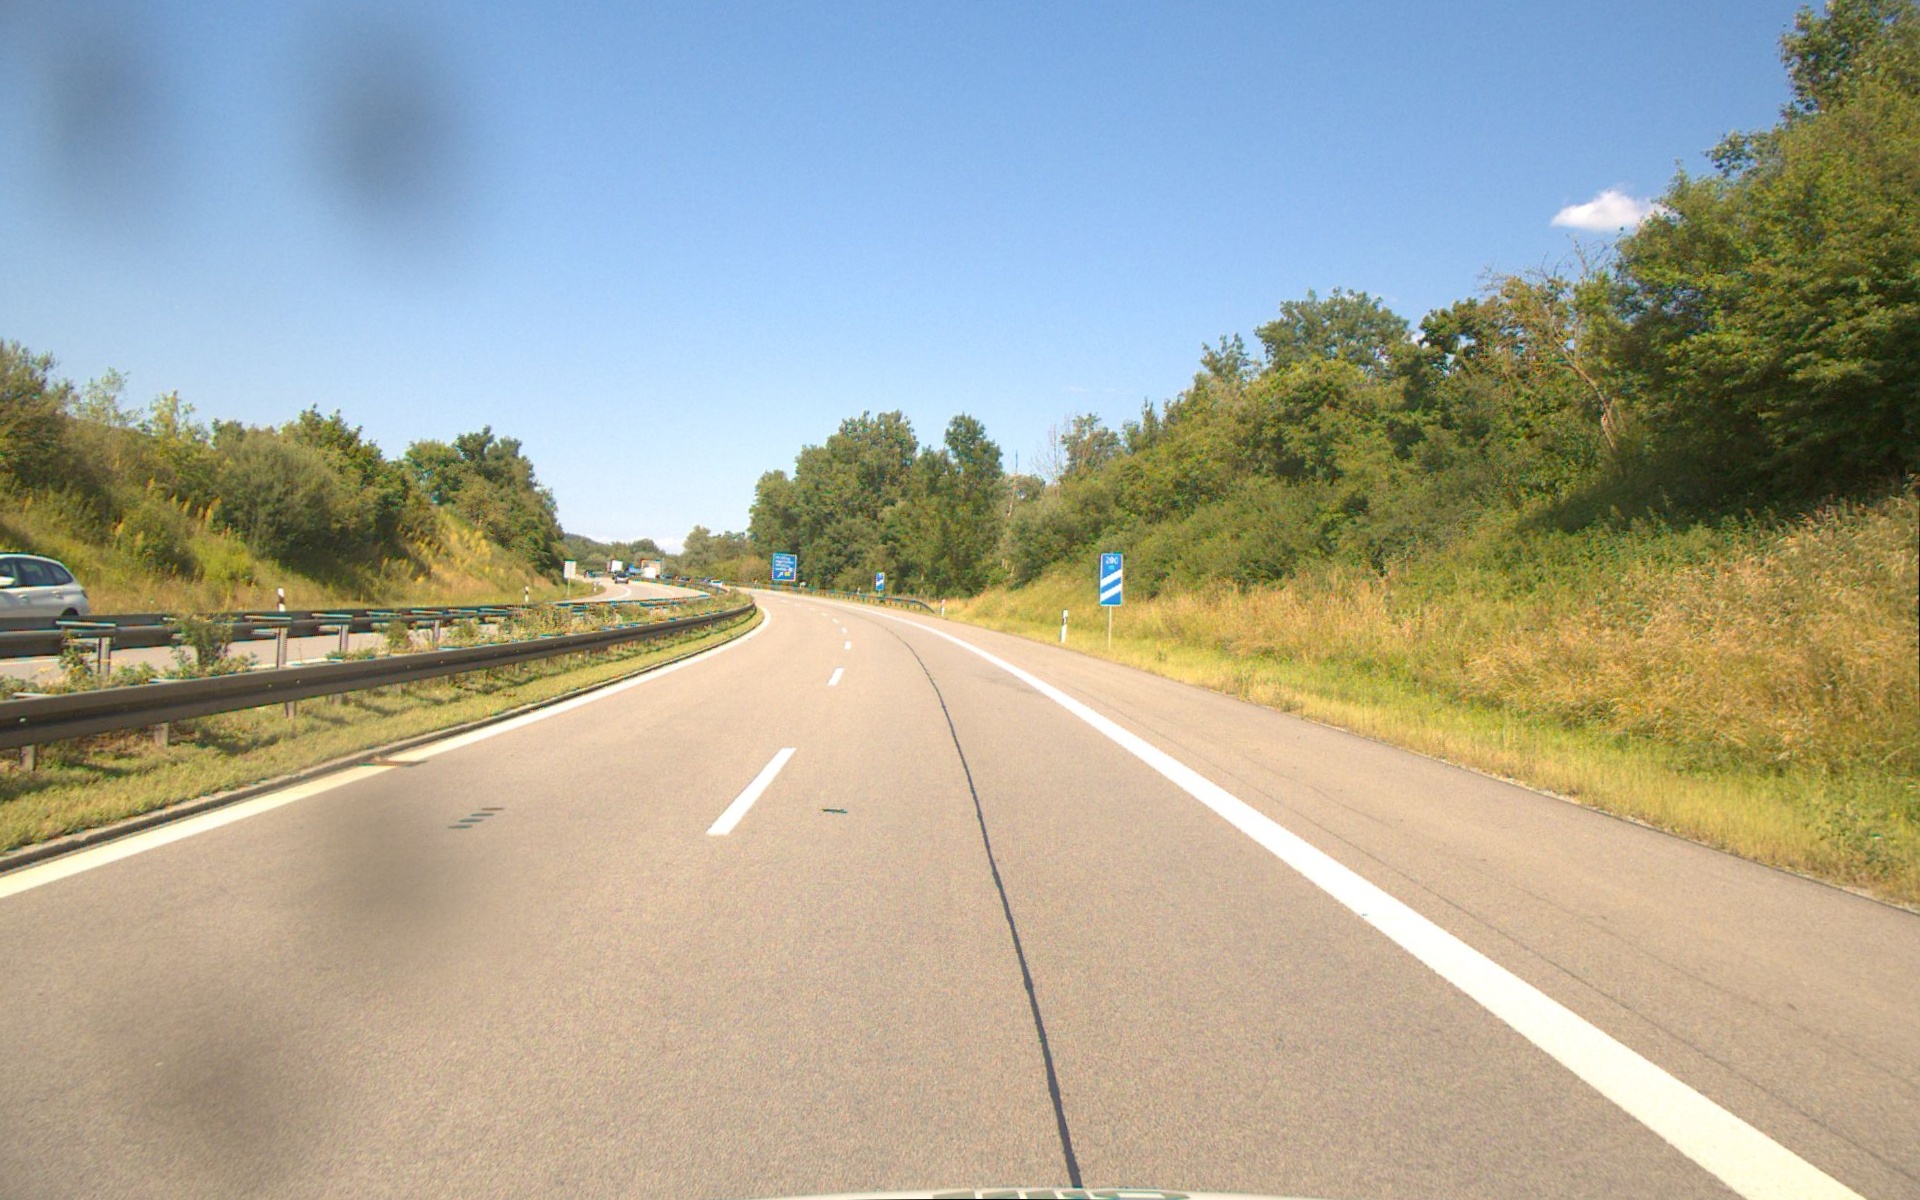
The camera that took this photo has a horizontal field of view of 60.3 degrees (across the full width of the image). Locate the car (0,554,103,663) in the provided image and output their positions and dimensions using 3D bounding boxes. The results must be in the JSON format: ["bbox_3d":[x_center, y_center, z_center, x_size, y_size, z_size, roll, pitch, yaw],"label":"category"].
[{"bbox_3d":[-13.750,0.101,22.633,1.861,1.447,4.397,0,1,-2],"label":"car"}]

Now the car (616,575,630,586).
[{"bbox_3d":[-48.500,-2.783,238.217,1.786,1.506,4.675,2,0,-9],"label":"car"}]

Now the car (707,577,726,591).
[{"bbox_3d":[-31.890,-2.092,216.420,2.026,1.653,3.986,2,-2,-13],"label":"car"}]
